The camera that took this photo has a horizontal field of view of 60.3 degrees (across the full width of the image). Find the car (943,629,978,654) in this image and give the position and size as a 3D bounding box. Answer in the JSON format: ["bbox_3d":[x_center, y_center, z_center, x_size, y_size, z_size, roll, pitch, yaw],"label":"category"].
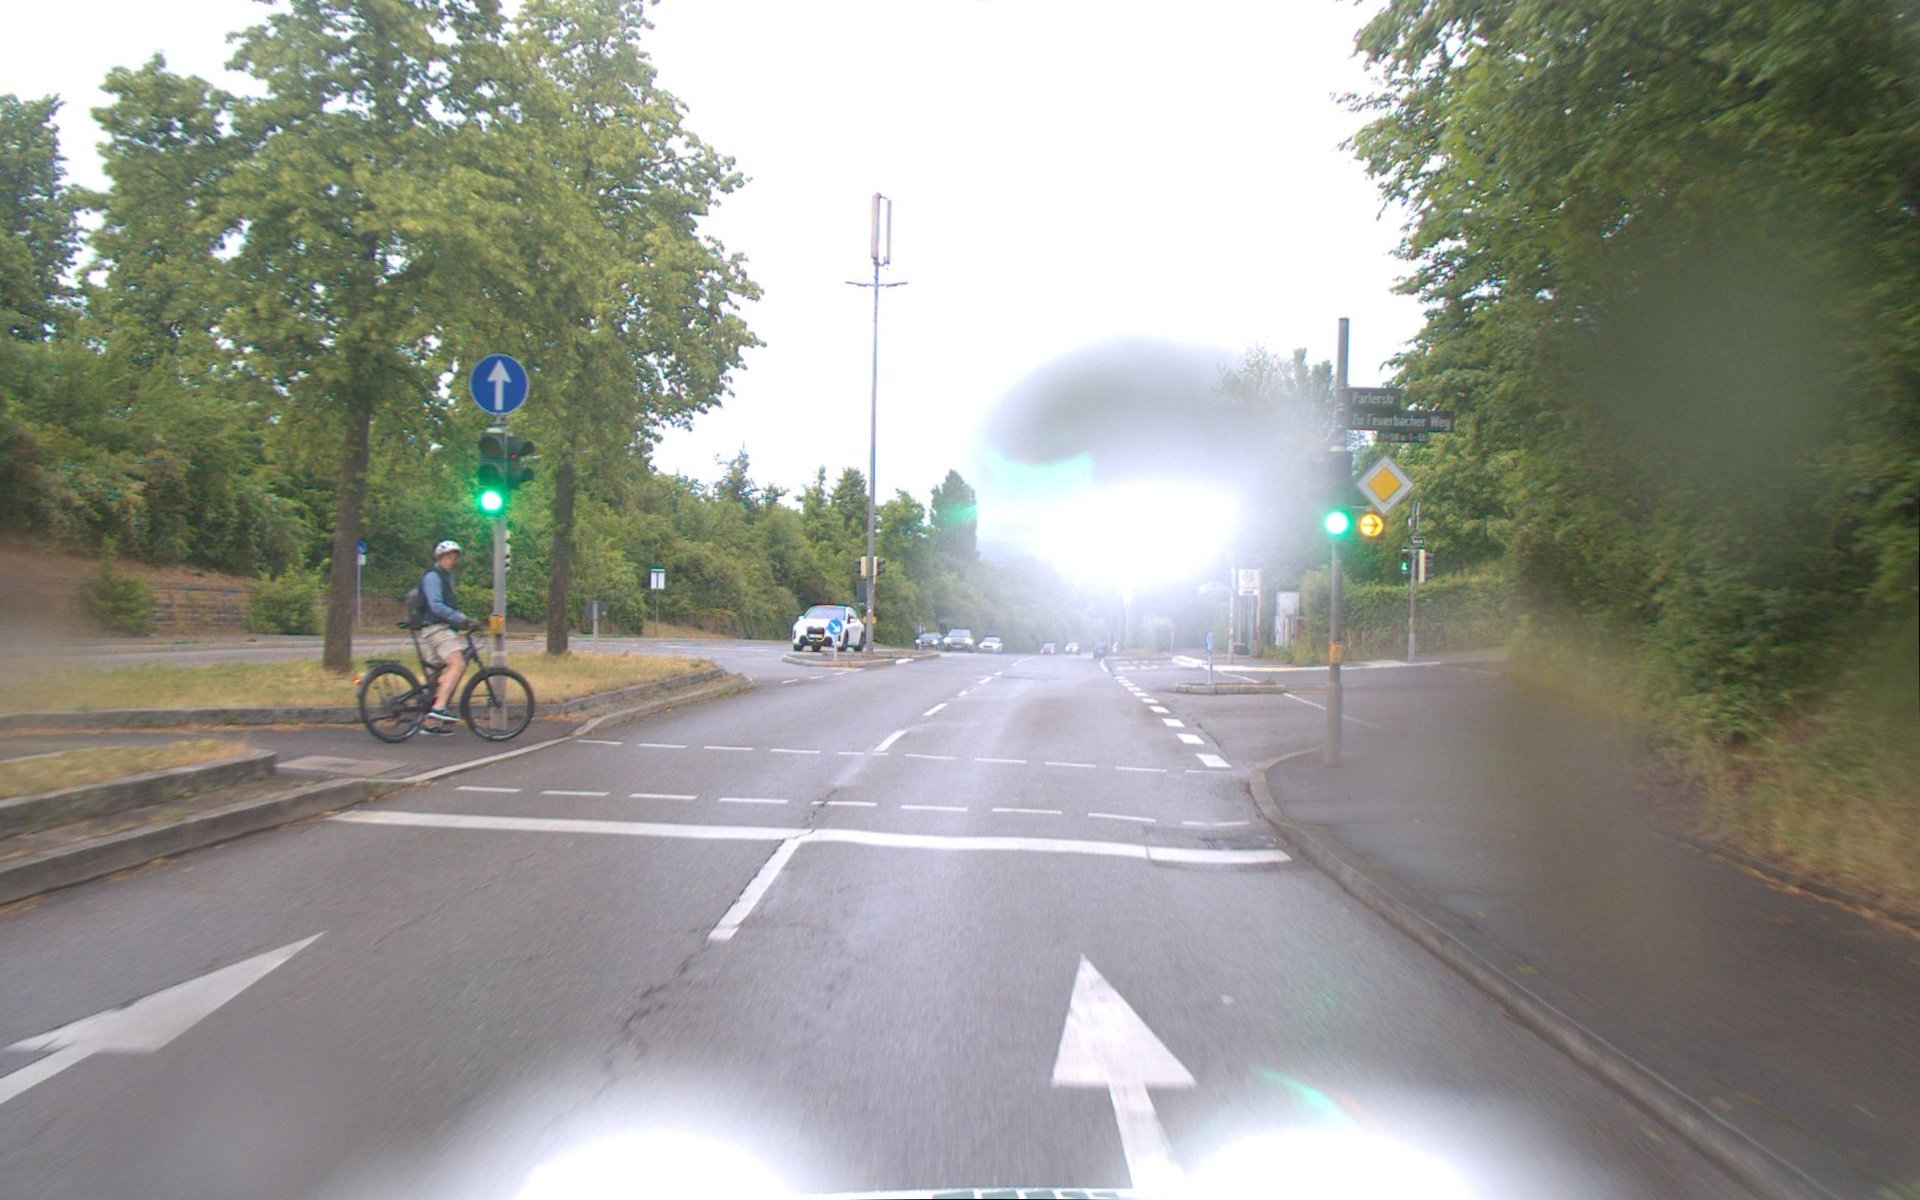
[{"bbox_3d":[0.053,2.660,105.908,1.740,1.497,4.647,2,-1,6],"label":"car"}]

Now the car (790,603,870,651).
[{"bbox_3d":[-4.793,1.011,61.868,1.903,1.664,5.009,2,-1,8],"label":"car"}]

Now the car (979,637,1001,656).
[{"bbox_3d":[2.848,4.444,158.032,1.687,1.619,4.003,2,0,7],"label":"car"}]

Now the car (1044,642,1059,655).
[{"bbox_3d":[11.494,6.074,207.475,1.689,1.593,3.894,4,-1,5],"label":"car"}]

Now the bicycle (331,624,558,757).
[{"bbox_3d":[-4.841,0.823,15.681,0.543,1.163,2.131,2,0,36],"label":"bicycle"}]

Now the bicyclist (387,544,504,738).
[{"bbox_3d":[-4.903,0.398,15.777,0.711,1.783,0.798,-2,-3,37],"label":"bicyclist"}]

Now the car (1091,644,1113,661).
[{"bbox_3d":[15.056,5.563,175.248,1.903,1.619,3.931,2,0,11],"label":"car"}]

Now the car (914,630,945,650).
[{"bbox_3d":[-2.341,3.081,127.410,1.781,1.463,4.457,2,-1,7],"label":"car"}]
